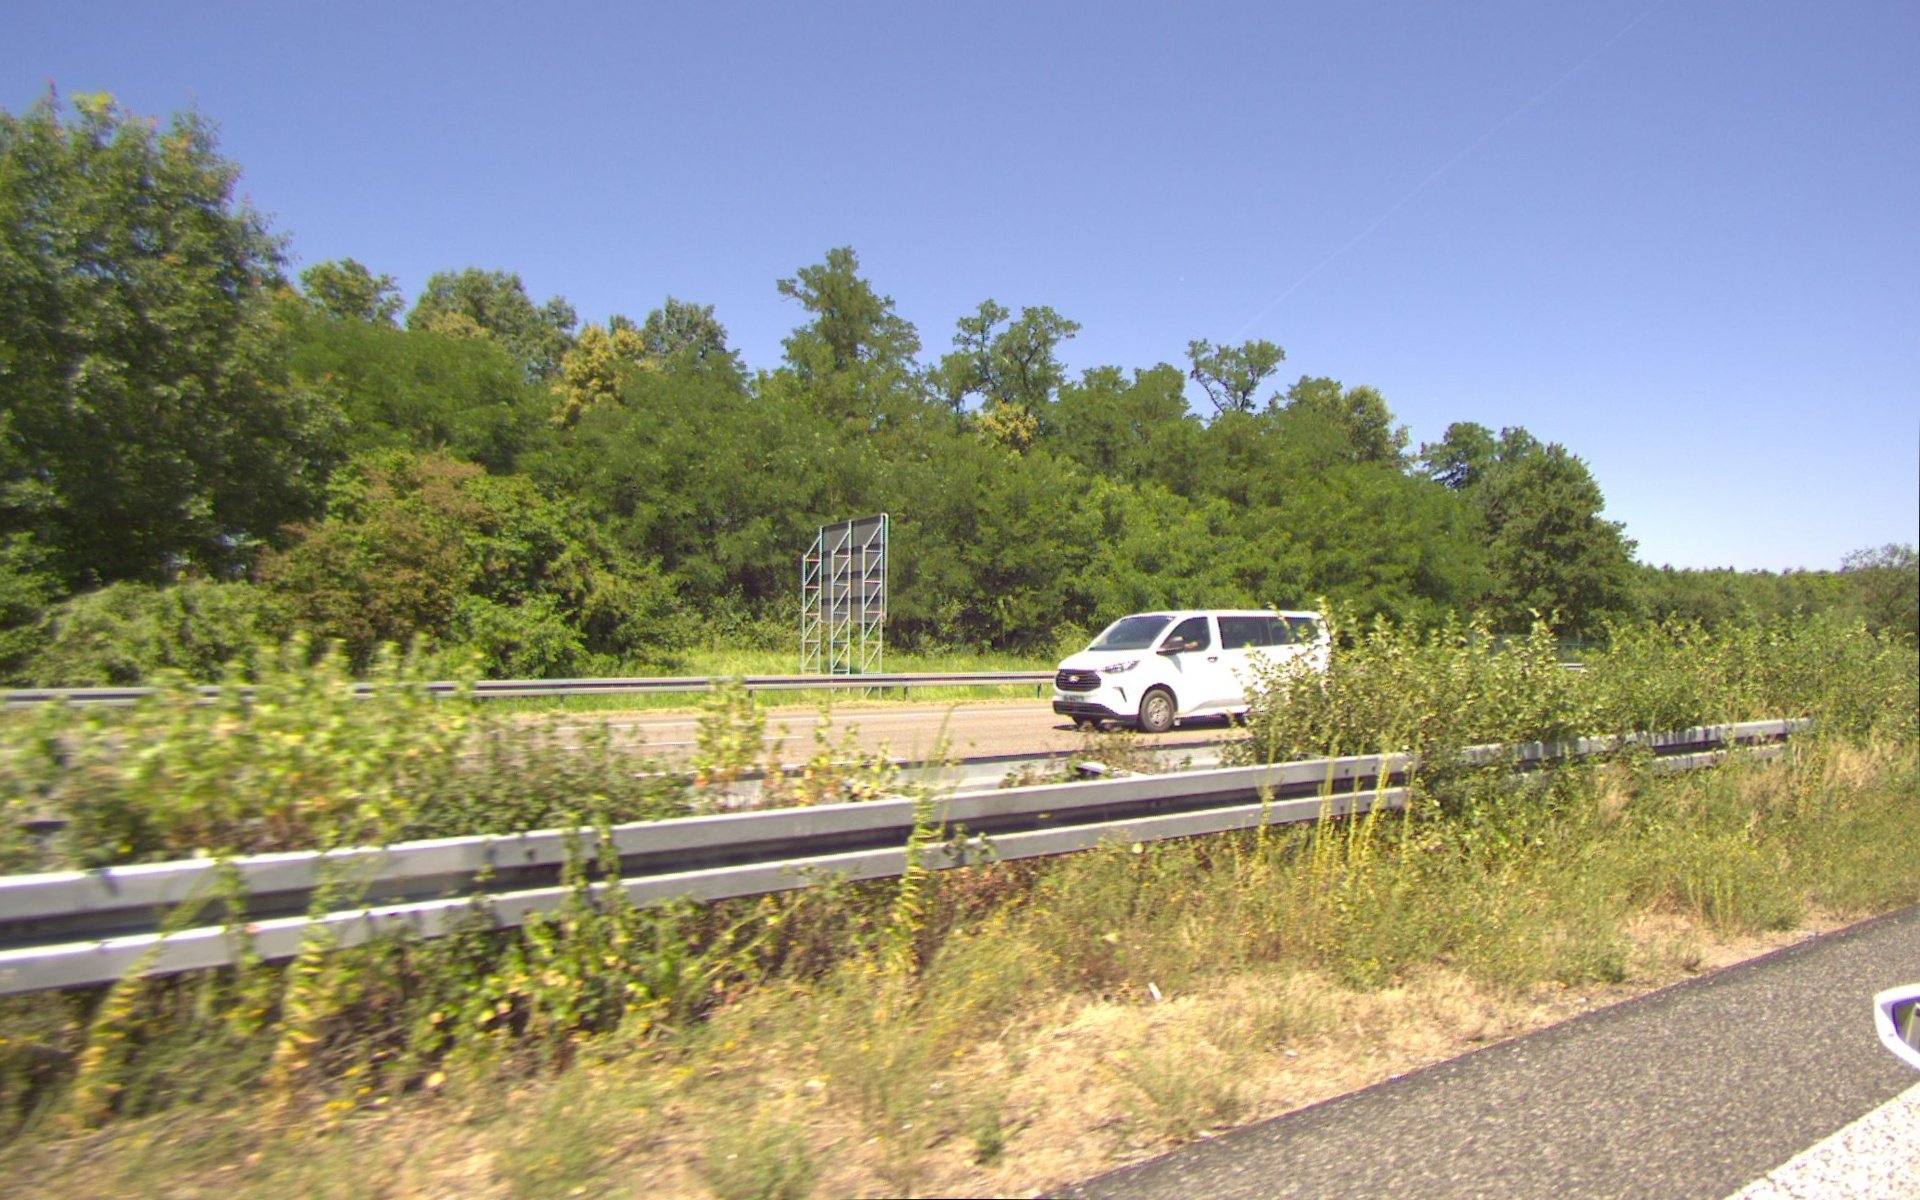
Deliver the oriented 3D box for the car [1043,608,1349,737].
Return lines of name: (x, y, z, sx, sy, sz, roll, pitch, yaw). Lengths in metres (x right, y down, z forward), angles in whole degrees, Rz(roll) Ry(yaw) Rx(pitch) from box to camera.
car: (4.187, 1.204, 17.476, 5.353, 1.957, 1.983, 2, -3, -32)
